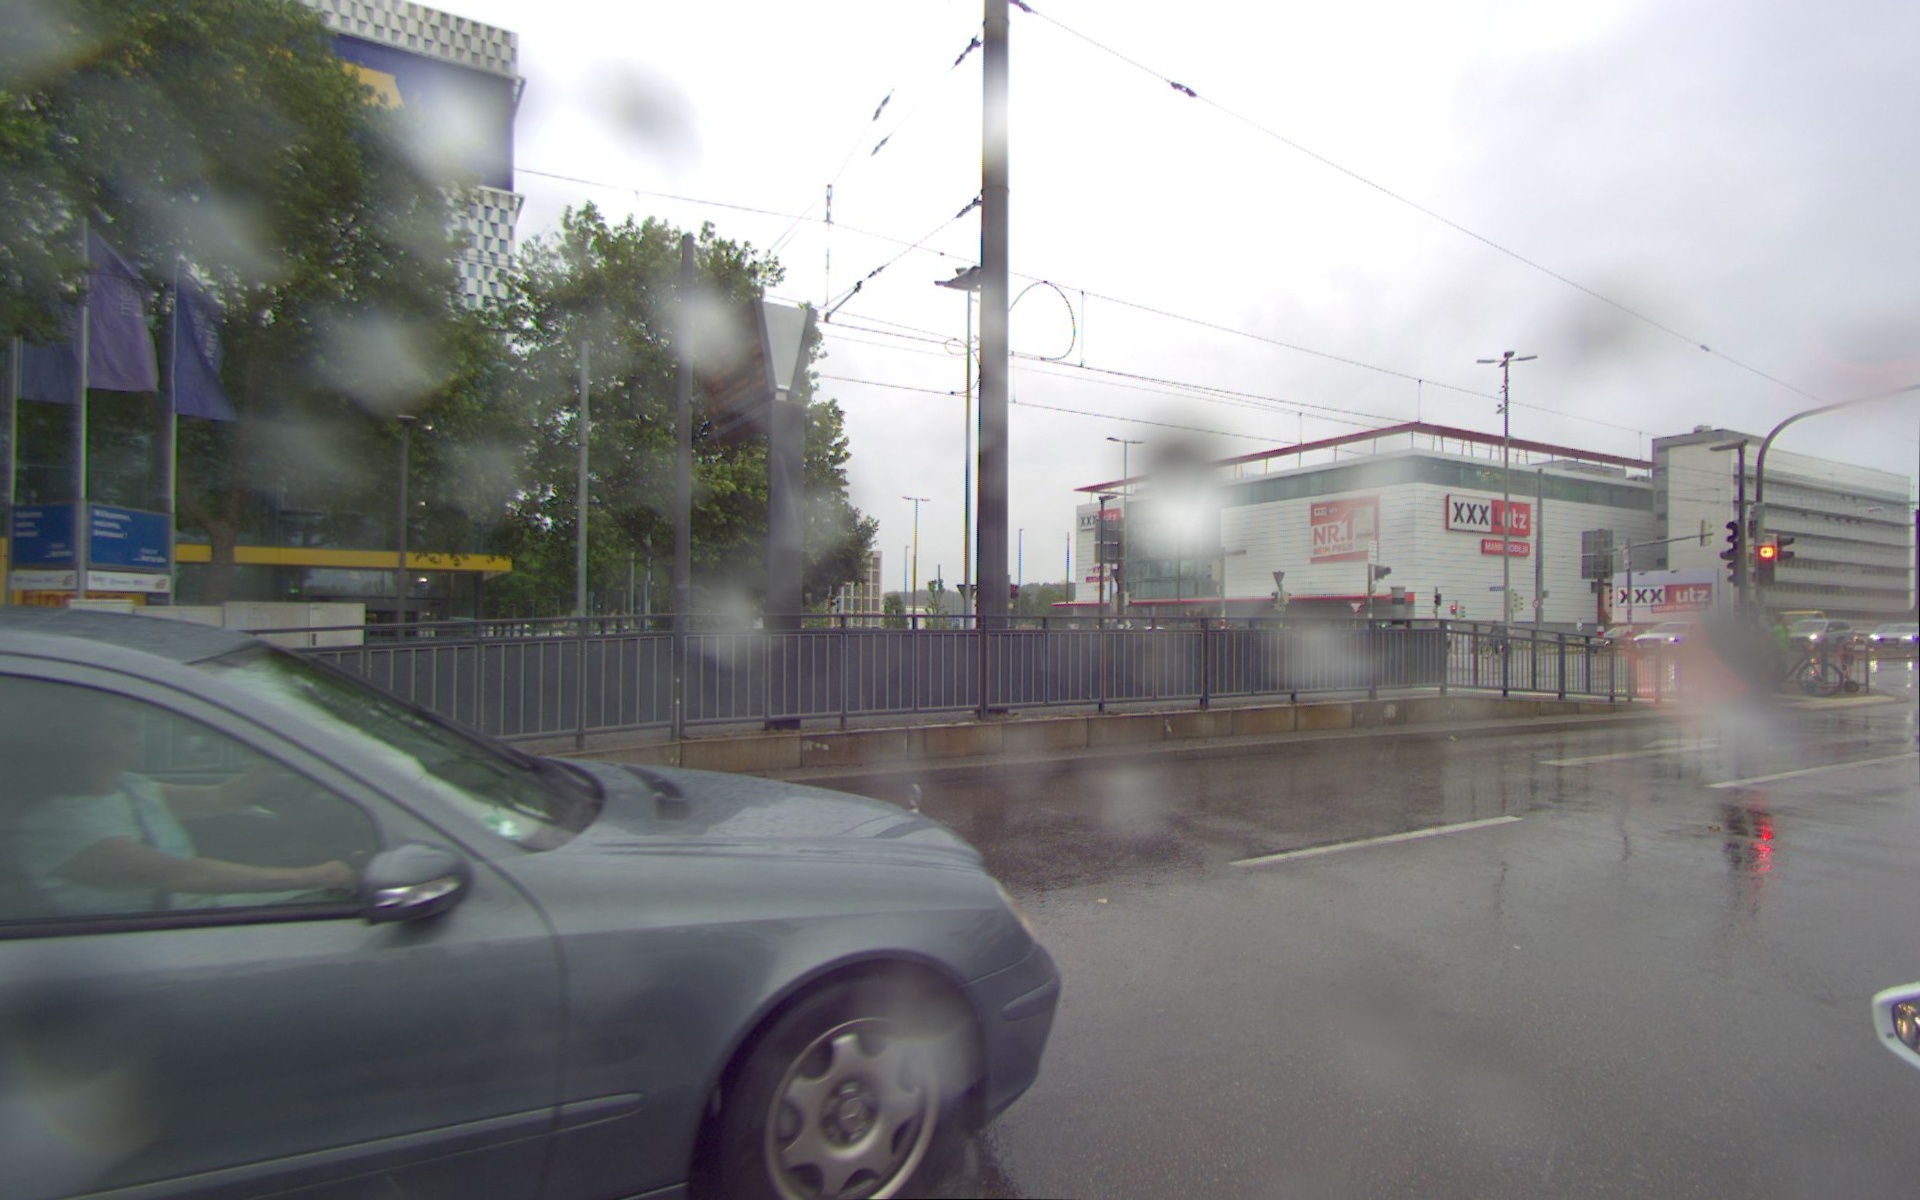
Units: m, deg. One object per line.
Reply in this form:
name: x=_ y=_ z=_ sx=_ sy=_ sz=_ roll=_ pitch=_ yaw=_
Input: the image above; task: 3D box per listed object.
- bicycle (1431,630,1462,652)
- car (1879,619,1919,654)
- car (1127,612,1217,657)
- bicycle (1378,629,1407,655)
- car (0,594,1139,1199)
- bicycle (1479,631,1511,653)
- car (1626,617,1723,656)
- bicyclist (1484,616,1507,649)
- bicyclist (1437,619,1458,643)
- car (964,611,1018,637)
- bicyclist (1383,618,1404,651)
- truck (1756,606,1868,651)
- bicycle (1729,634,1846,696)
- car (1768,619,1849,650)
bicycle: x=23.676 y=2.002 z=48.844 sx=1.688 sy=1.000 sz=0.448 roll=2 pitch=0 yaw=-30
car: x=51.129 y=1.963 z=53.520 sx=3.947 sy=1.722 sz=1.886 roll=2 pitch=0 yaw=-26
car: x=10.388 y=1.681 z=49.502 sx=1.976 sy=2.040 sz=4.295 roll=2 pitch=0 yaw=-29
bicycle: x=18.895 y=1.836 z=43.855 sx=1.493 sy=1.075 sz=0.408 roll=2 pitch=0 yaw=-33
car: x=-1.937 y=0.715 z=2.282 sx=4.592 sy=1.417 sz=1.753 roll=2 pitch=0 yaw=-31
bicycle: x=24.854 y=1.956 z=46.672 sx=1.688 sy=1.000 sz=0.448 roll=2 pitch=0 yaw=-30
car: x=30.503 y=1.557 z=42.887 sx=3.823 sy=1.512 sz=1.693 roll=2 pitch=0 yaw=-25
bicyclist: x=24.863 y=1.515 z=46.667 sx=0.639 sy=1.483 sz=0.681 roll=2 pitch=0 yaw=-29
bicyclist: x=23.705 y=1.495 z=48.846 sx=0.639 sy=1.149 sz=0.681 roll=2 pitch=0 yaw=-29
car: x=2.175 y=1.672 z=70.207 sx=3.723 sy=1.645 sz=2.001 roll=2 pitch=0 yaw=2
bicyclist: x=18.952 y=1.508 z=43.895 sx=0.643 sy=1.418 sz=0.529 roll=2 pitch=0 yaw=-33
truck: x=47.801 y=1.601 z=56.327 sx=7.542 sy=2.309 sz=2.341 roll=2 pitch=0 yaw=-30
bicycle: x=16.808 y=1.296 z=20.443 sx=0.409 sy=1.048 sz=1.742 roll=2 pitch=3 yaw=-31
car: x=40.943 y=1.652 z=48.473 sx=3.780 sy=1.354 sz=1.582 roll=2 pitch=0 yaw=-26
